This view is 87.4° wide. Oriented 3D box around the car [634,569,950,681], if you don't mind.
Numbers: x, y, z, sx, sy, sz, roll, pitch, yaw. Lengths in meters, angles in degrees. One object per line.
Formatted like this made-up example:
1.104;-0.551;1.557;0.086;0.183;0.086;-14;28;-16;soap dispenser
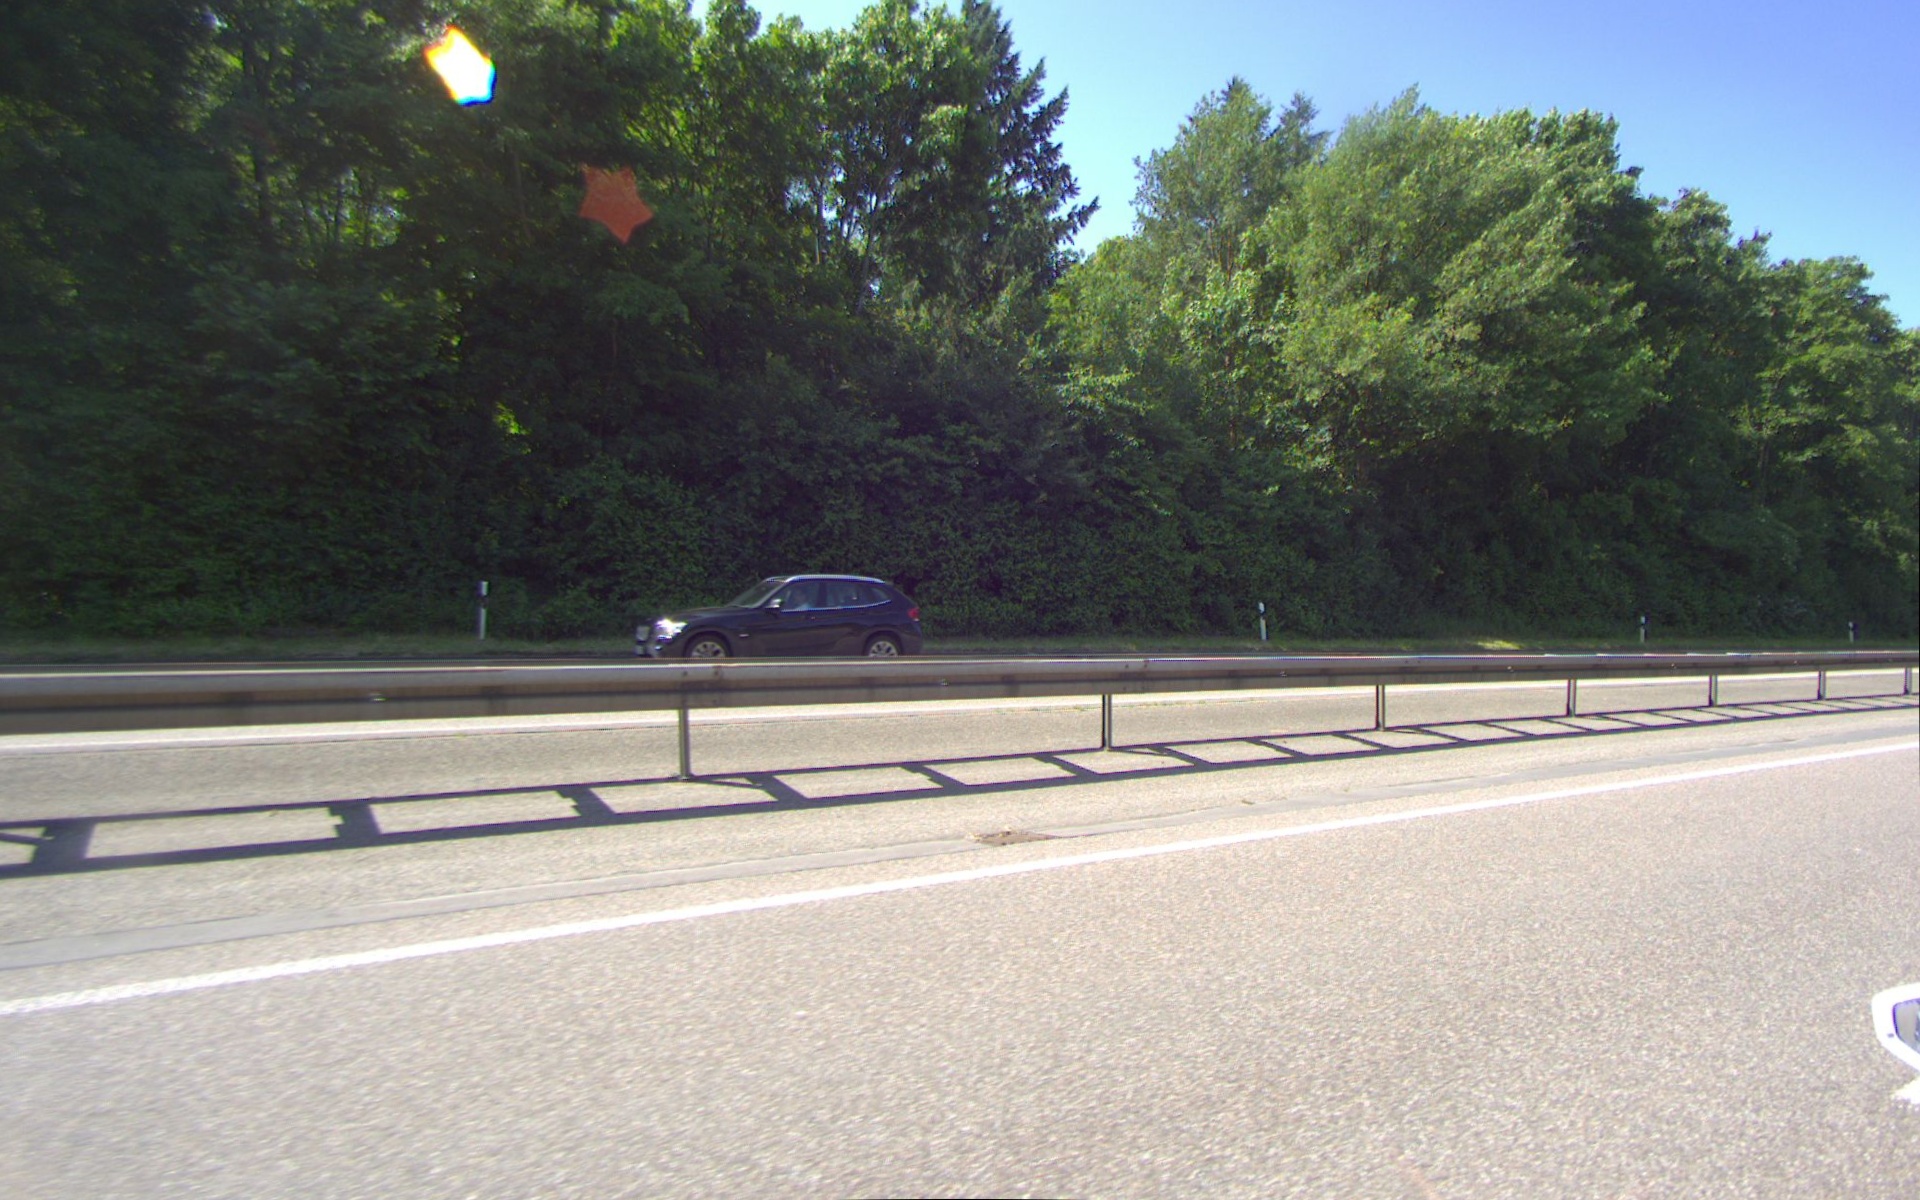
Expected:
-2.563;0.380;15.621;4.495;1.530;1.834;2;0;-29;car
